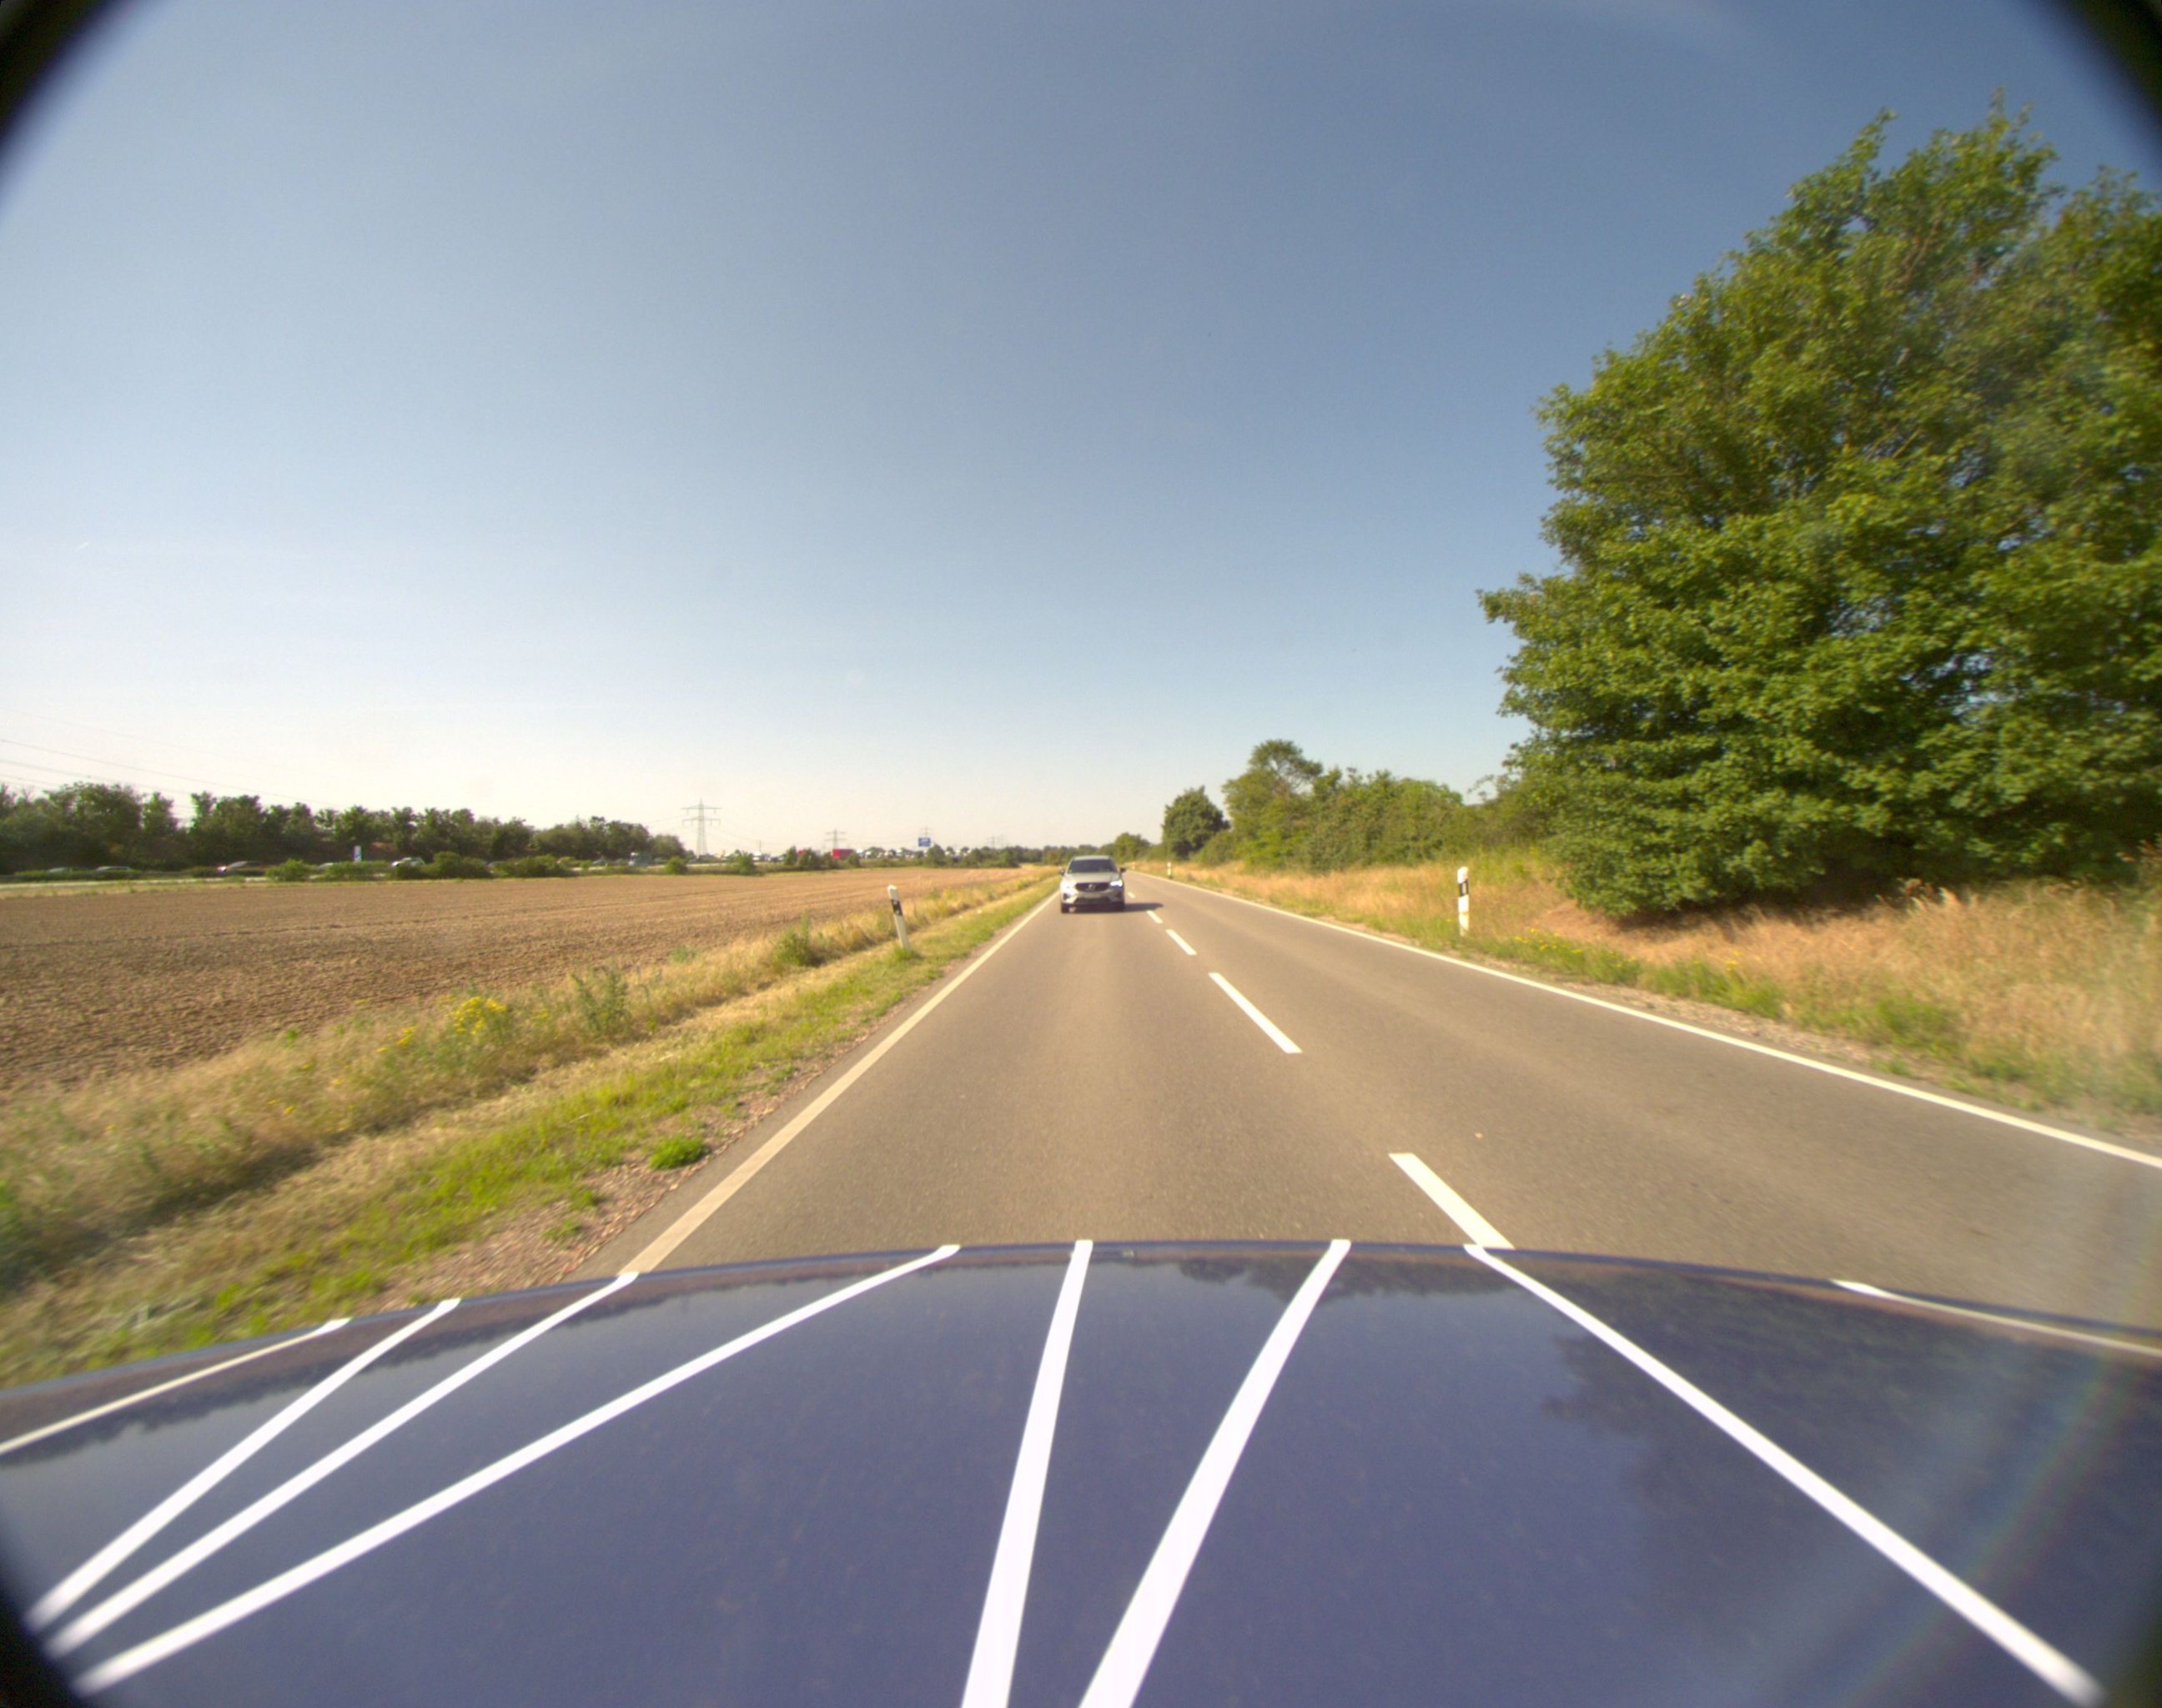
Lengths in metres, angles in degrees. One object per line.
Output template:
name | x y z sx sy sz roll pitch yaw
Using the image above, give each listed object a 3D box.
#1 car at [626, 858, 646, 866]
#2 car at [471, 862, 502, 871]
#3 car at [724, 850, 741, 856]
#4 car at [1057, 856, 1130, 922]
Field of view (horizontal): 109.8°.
car | -82.342 1.435 140.656 1.583 1.256 3.550 -3 0 1
car | -87.439 1.830 111.818 1.583 1.256 3.550 -3 0 1
car | -99.064 -0.240 215.753 2.055 1.671 5.608 -2 0 2
car | 0.336 0.910 21.566 1.840 1.628 4.135 -2 0 0
